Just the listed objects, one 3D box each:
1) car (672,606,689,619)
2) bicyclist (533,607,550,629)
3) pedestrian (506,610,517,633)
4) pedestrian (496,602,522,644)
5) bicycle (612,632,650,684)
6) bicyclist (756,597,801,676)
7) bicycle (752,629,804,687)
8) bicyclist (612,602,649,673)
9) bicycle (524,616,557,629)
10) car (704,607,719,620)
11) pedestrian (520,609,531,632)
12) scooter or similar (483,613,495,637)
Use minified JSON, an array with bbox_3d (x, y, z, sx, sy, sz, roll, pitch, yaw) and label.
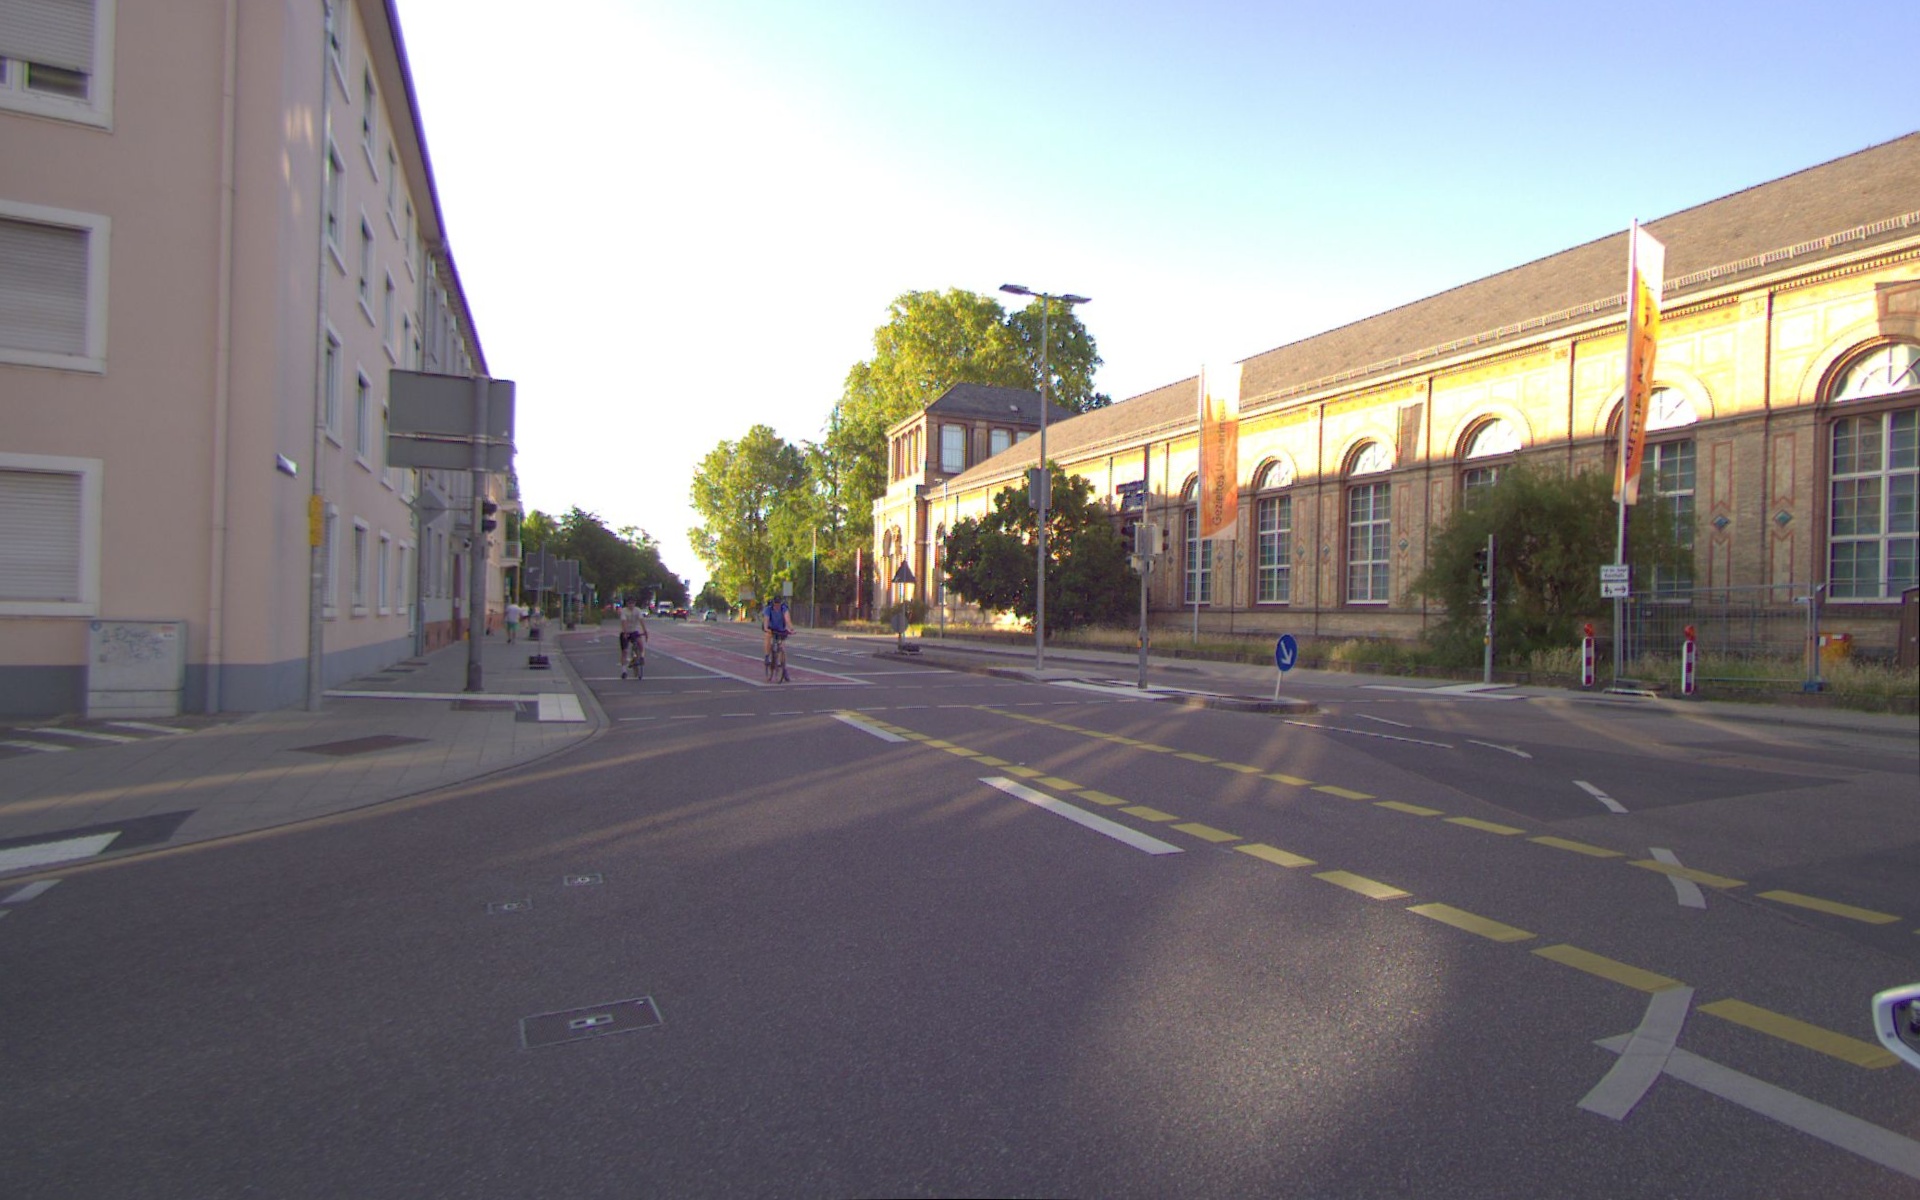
[{"bbox_3d":[-39.029,1.778,140.146,1.969,1.743,3.982,1,-1,-20],"label":"car"},{"bbox_3d":[-31.611,1.355,75.868,0.741,1.618,0.870,1,-1,36],"label":"bicyclist"},{"bbox_3d":[-30.914,1.480,69.233,0.609,1.554,0.685,1,0,-29],"label":"pedestrian"},{"bbox_3d":[-18.255,0.934,40.672,0.865,1.674,0.806,1,-4,-22],"label":"pedestrian"},{"bbox_3d":[-6.982,1.206,21.262,0.712,1.024,1.681,1,-1,-20],"label":"bicycle"},{"bbox_3d":[-3.712,0.733,20.493,0.702,1.565,1.120,1,0,-20],"label":"bicyclist"},{"bbox_3d":[-3.744,1.166,20.565,0.712,1.082,1.992,1,-1,-20],"label":"bicycle"},{"bbox_3d":[-6.964,0.790,21.232,0.702,1.459,0.890,1,0,-20],"label":"bicyclist"},{"bbox_3d":[-31.642,1.717,75.831,0.761,0.941,2.186,1,-1,37],"label":"bicycle"},{"bbox_3d":[-35.609,1.901,143.973,1.968,1.743,3.986,1,-1,-17],"label":"car"},{"bbox_3d":[-30.139,1.434,69.621,0.609,1.595,0.719,1,0,-29],"label":"pedestrian"},{"bbox_3d":[-22.214,1.169,47.407,0.390,1.143,0.858,1,0,-17],"label":"scooter or similar"}]
